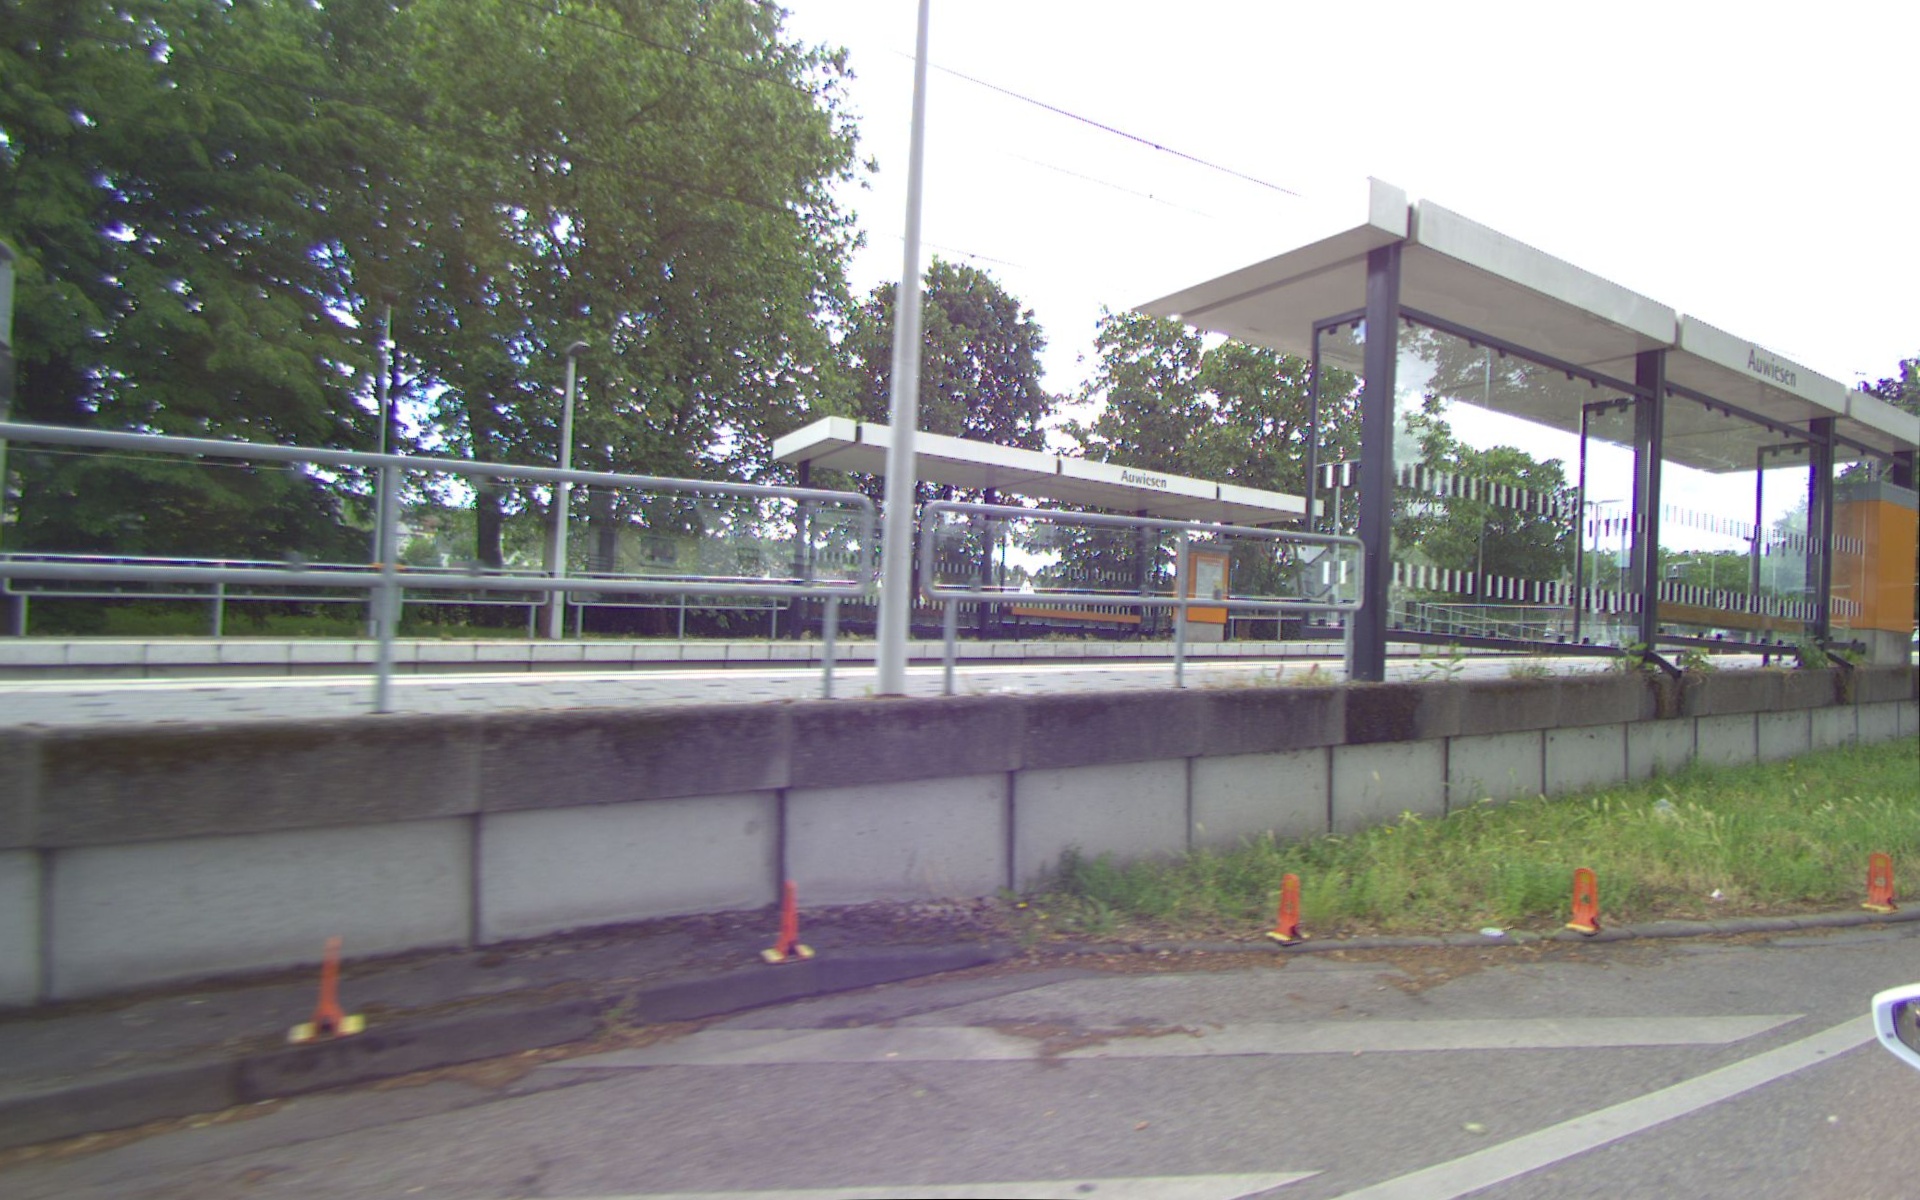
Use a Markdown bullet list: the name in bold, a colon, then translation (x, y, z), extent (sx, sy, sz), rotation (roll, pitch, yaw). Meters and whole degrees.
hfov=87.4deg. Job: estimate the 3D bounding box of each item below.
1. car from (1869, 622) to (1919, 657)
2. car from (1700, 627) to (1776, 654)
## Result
- **car**: translation (42.061, 1.729, 43.741), extent (1.959, 1.418, 4.002), rotation (1, 0, 13)
- **car**: translation (45.214, 2.319, 58.457), extent (1.959, 1.418, 4.002), rotation (1, 0, 13)
